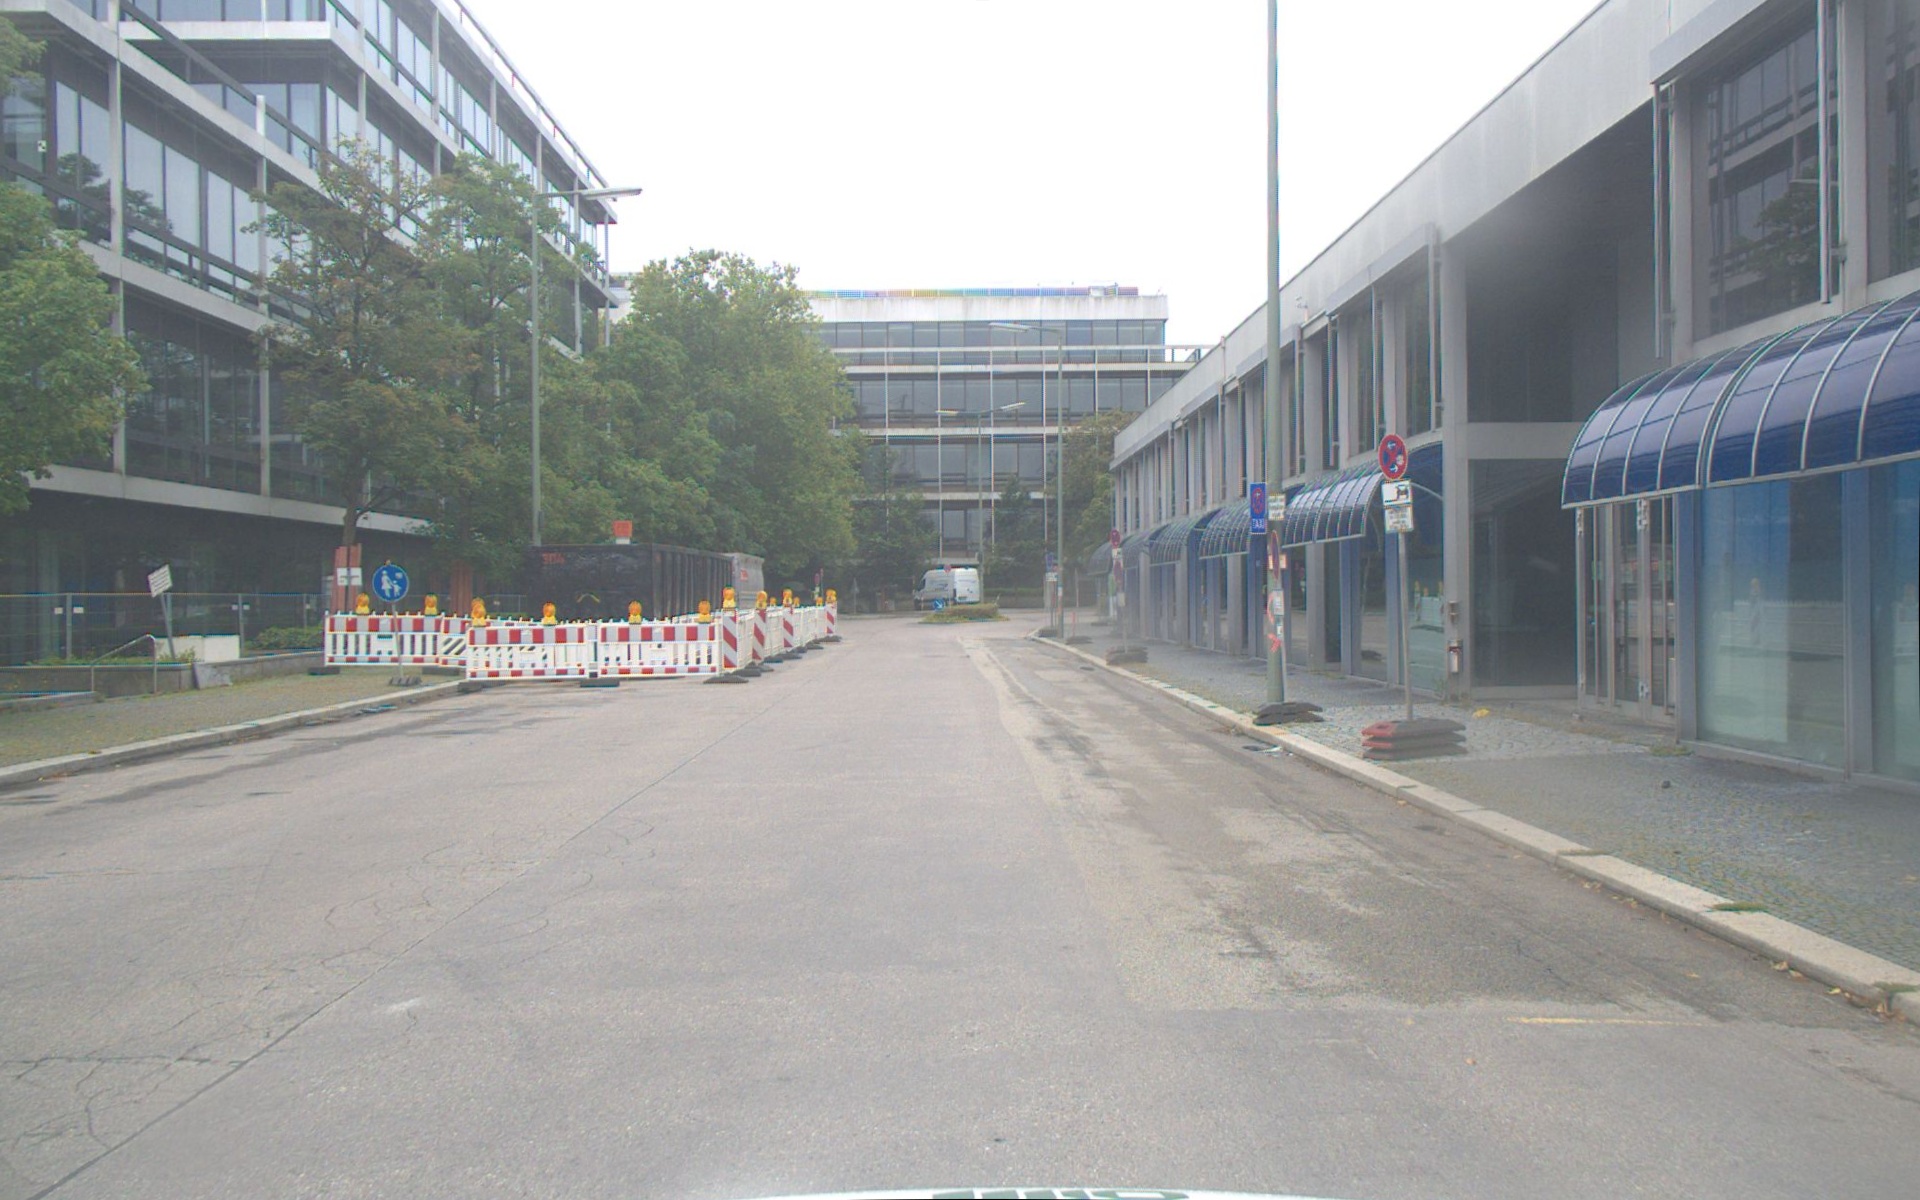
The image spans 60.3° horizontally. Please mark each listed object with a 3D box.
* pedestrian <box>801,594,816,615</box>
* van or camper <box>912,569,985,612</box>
[{"bbox_3d":[-9.652,0.295,105.228,0.907,1.300,0.542,0,0,1],"label":"pedestrian"},{"bbox_3d":[-0.784,-0.584,107.544,2.129,2.626,6.483,0,-1,-26],"label":"van or camper"}]
